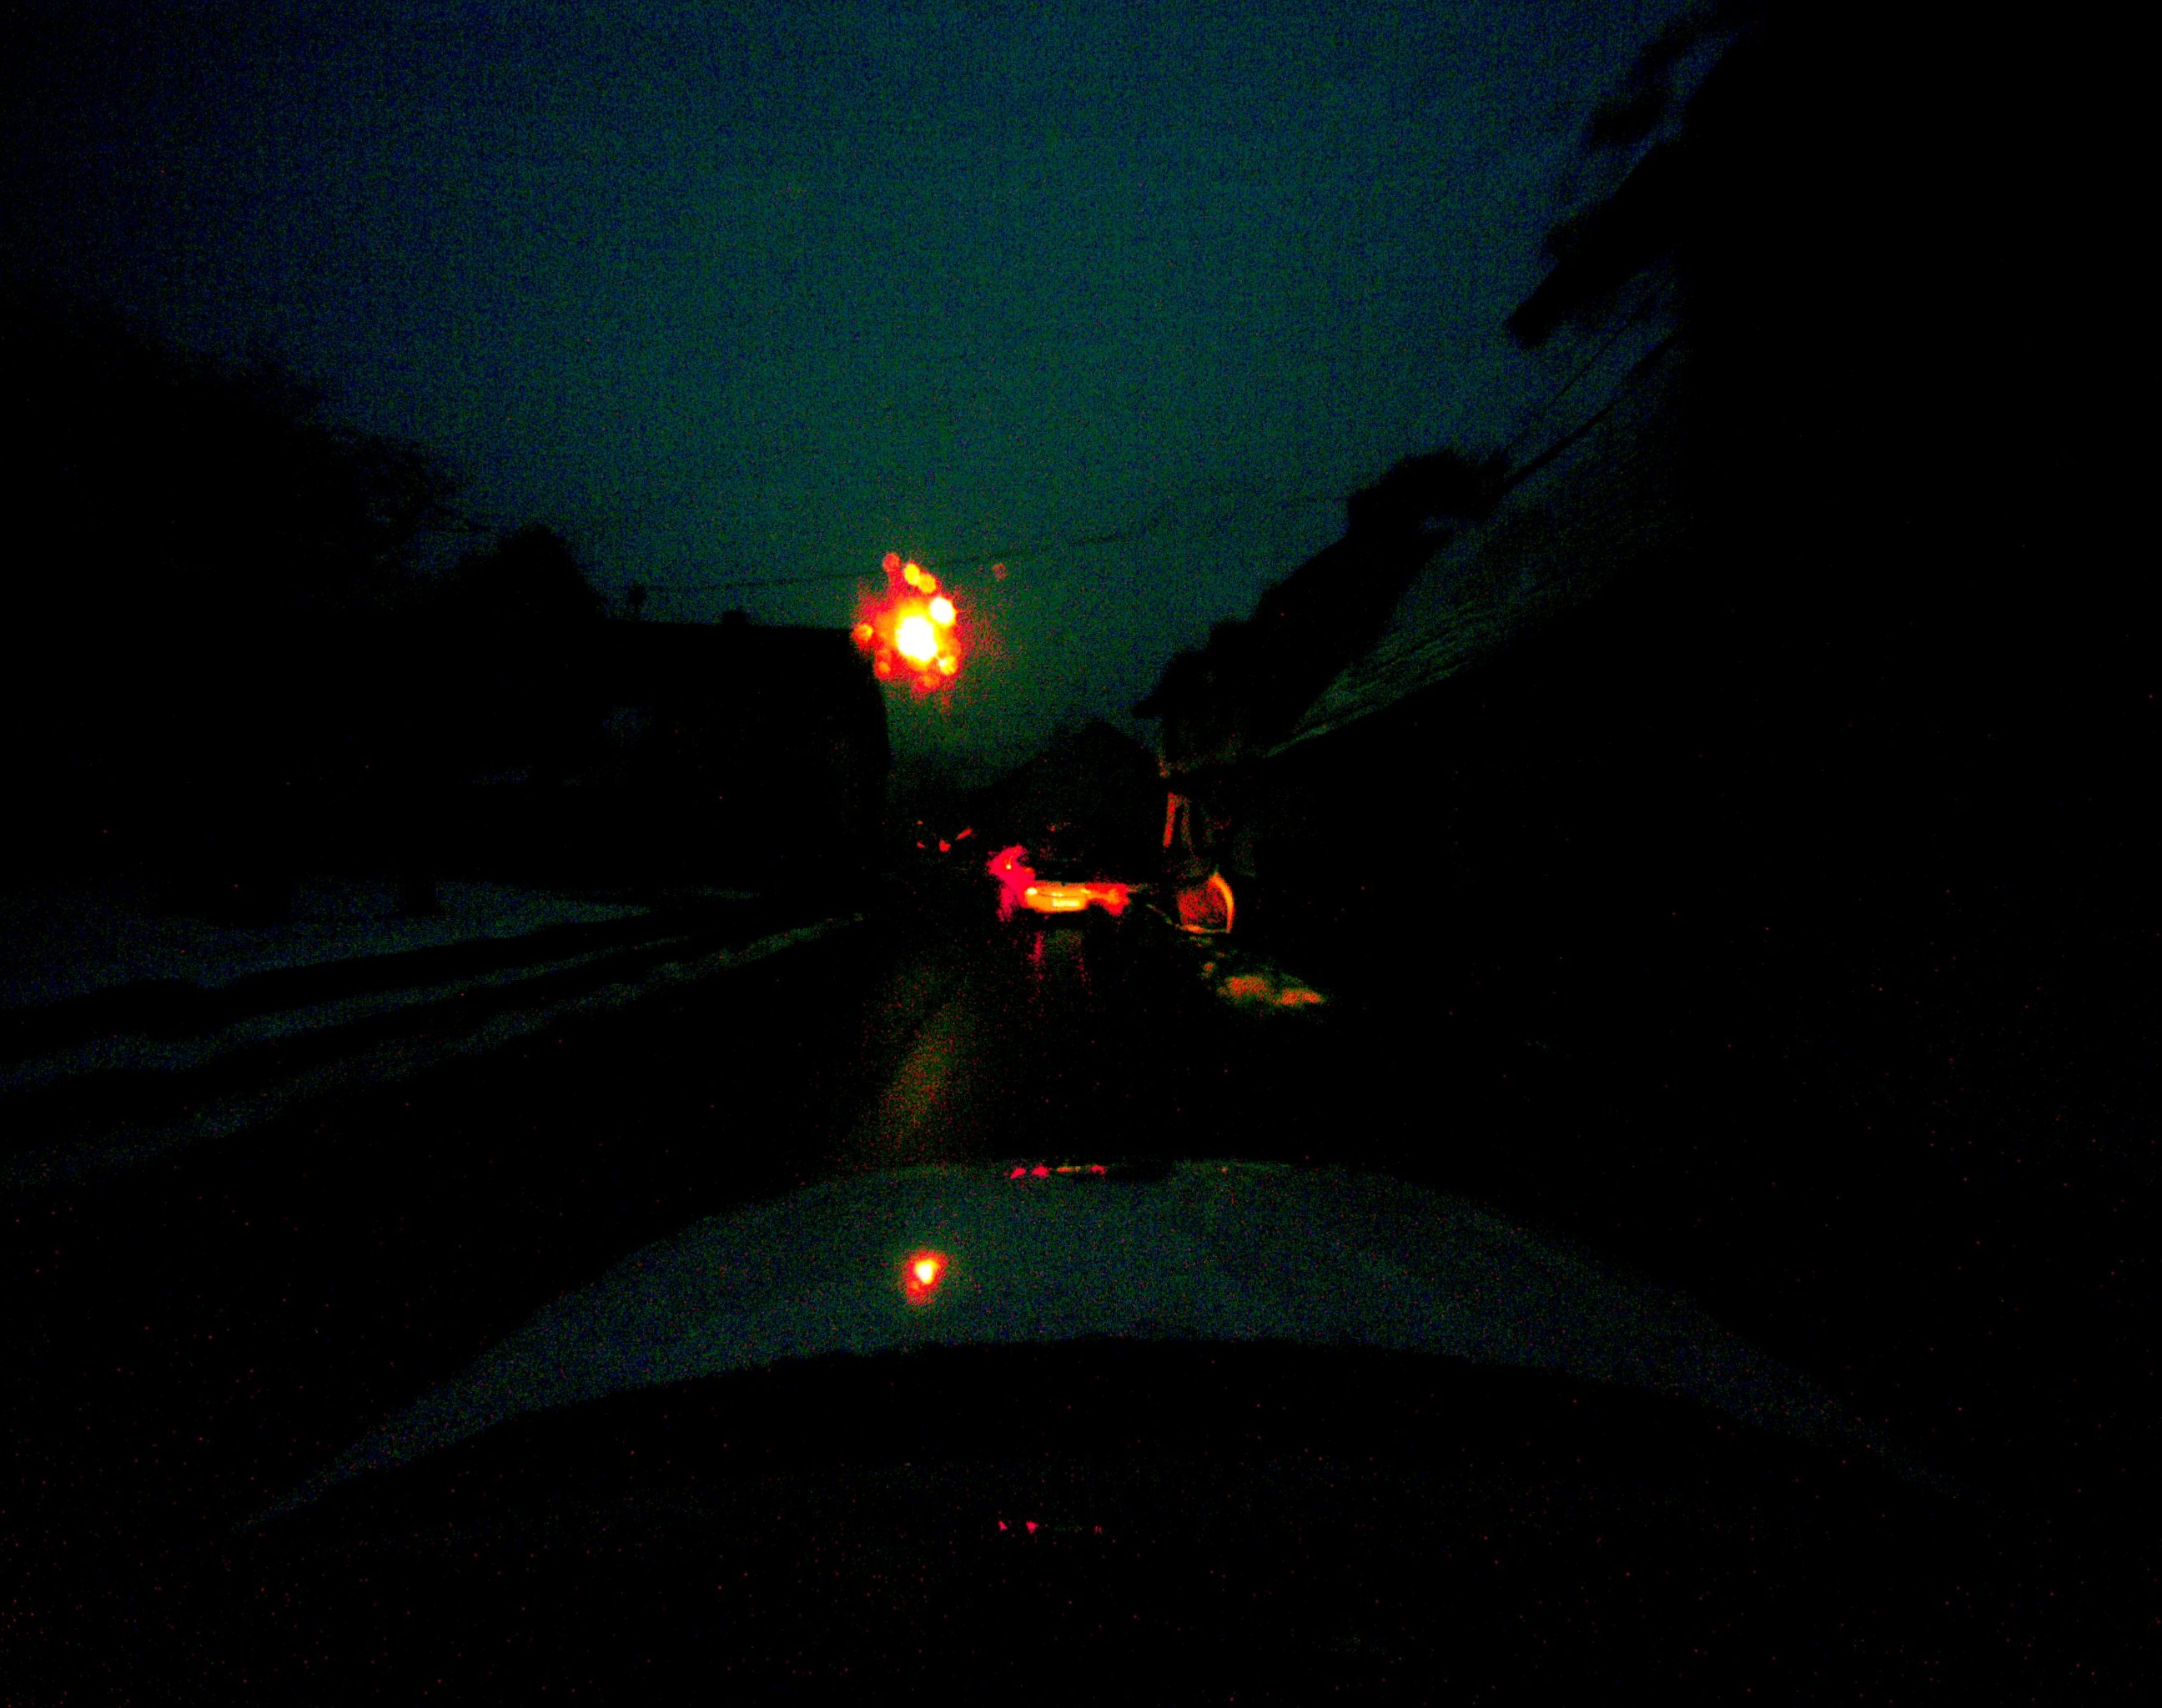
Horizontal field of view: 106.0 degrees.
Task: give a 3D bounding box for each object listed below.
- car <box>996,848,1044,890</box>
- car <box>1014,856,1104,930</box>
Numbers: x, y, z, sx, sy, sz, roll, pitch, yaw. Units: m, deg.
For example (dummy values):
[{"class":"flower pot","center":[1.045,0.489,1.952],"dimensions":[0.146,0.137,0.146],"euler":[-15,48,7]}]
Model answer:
[{"class":"car","center":[-2.506,0.636,32.810],"dimensions":[1.644,1.596,3.688],"euler":[0,-2,-8]},{"class":"car","center":[-0.614,0.890,19.512],"dimensions":[1.645,1.596,3.686],"euler":[0,-2,-10]}]
